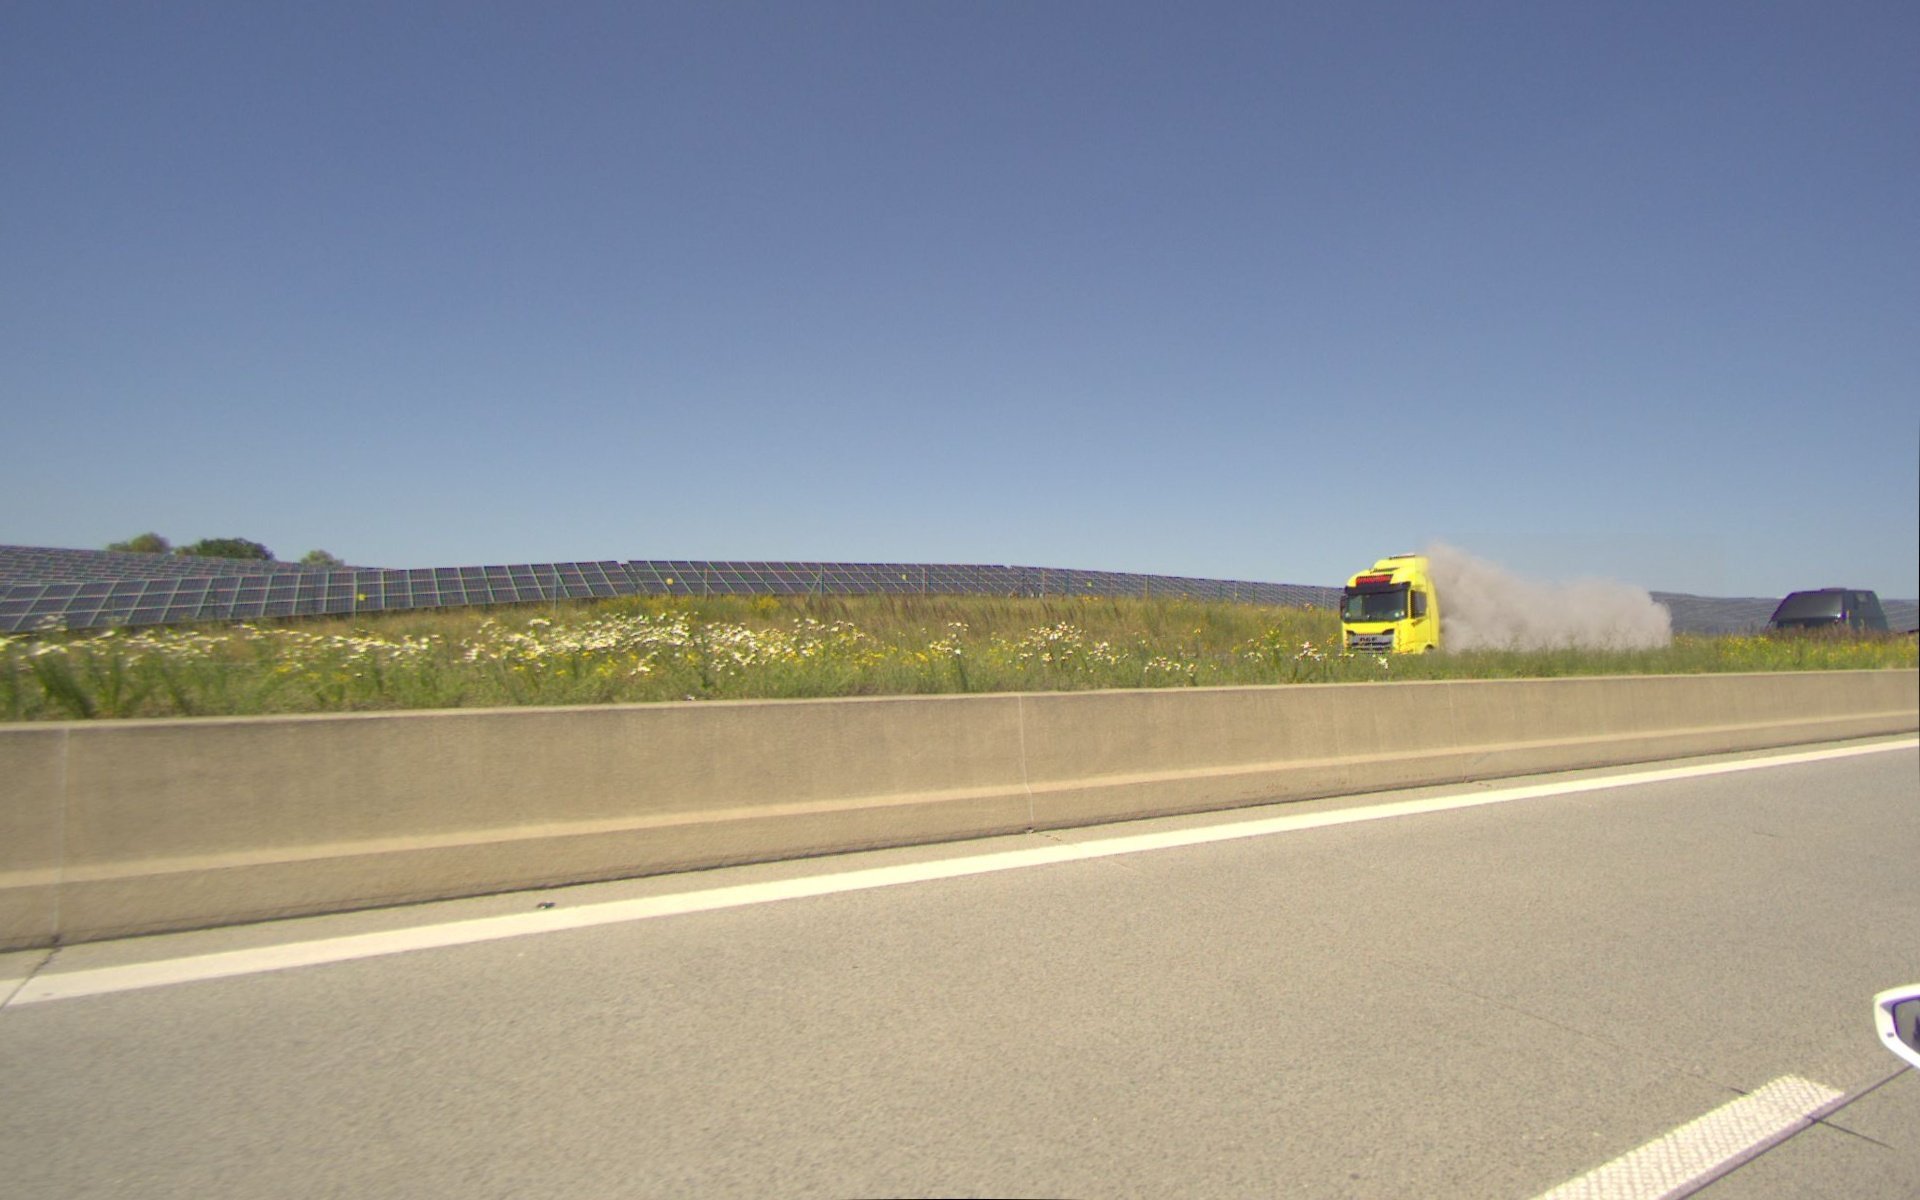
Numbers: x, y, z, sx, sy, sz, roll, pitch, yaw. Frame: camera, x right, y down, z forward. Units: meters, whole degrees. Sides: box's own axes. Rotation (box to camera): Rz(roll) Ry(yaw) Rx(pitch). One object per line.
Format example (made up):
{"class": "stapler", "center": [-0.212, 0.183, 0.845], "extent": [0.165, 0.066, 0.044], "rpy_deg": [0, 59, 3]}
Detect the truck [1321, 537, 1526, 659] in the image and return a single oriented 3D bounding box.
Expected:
{"class": "truck", "center": [15.040, 0.034, 32.509], "extent": [6.273, 3.587, 2.909], "rpy_deg": [2, 0, -30]}

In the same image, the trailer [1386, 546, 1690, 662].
{"class": "trailer", "center": [21.116, 0.309, 36.098], "extent": [13.856, 3.598, 2.917], "rpy_deg": [2, 0, -30]}

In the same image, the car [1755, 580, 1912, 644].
{"class": "car", "center": [26.439, 0.378, 30.359], "extent": [5.327, 1.751, 1.984], "rpy_deg": [2, 0, -31]}
